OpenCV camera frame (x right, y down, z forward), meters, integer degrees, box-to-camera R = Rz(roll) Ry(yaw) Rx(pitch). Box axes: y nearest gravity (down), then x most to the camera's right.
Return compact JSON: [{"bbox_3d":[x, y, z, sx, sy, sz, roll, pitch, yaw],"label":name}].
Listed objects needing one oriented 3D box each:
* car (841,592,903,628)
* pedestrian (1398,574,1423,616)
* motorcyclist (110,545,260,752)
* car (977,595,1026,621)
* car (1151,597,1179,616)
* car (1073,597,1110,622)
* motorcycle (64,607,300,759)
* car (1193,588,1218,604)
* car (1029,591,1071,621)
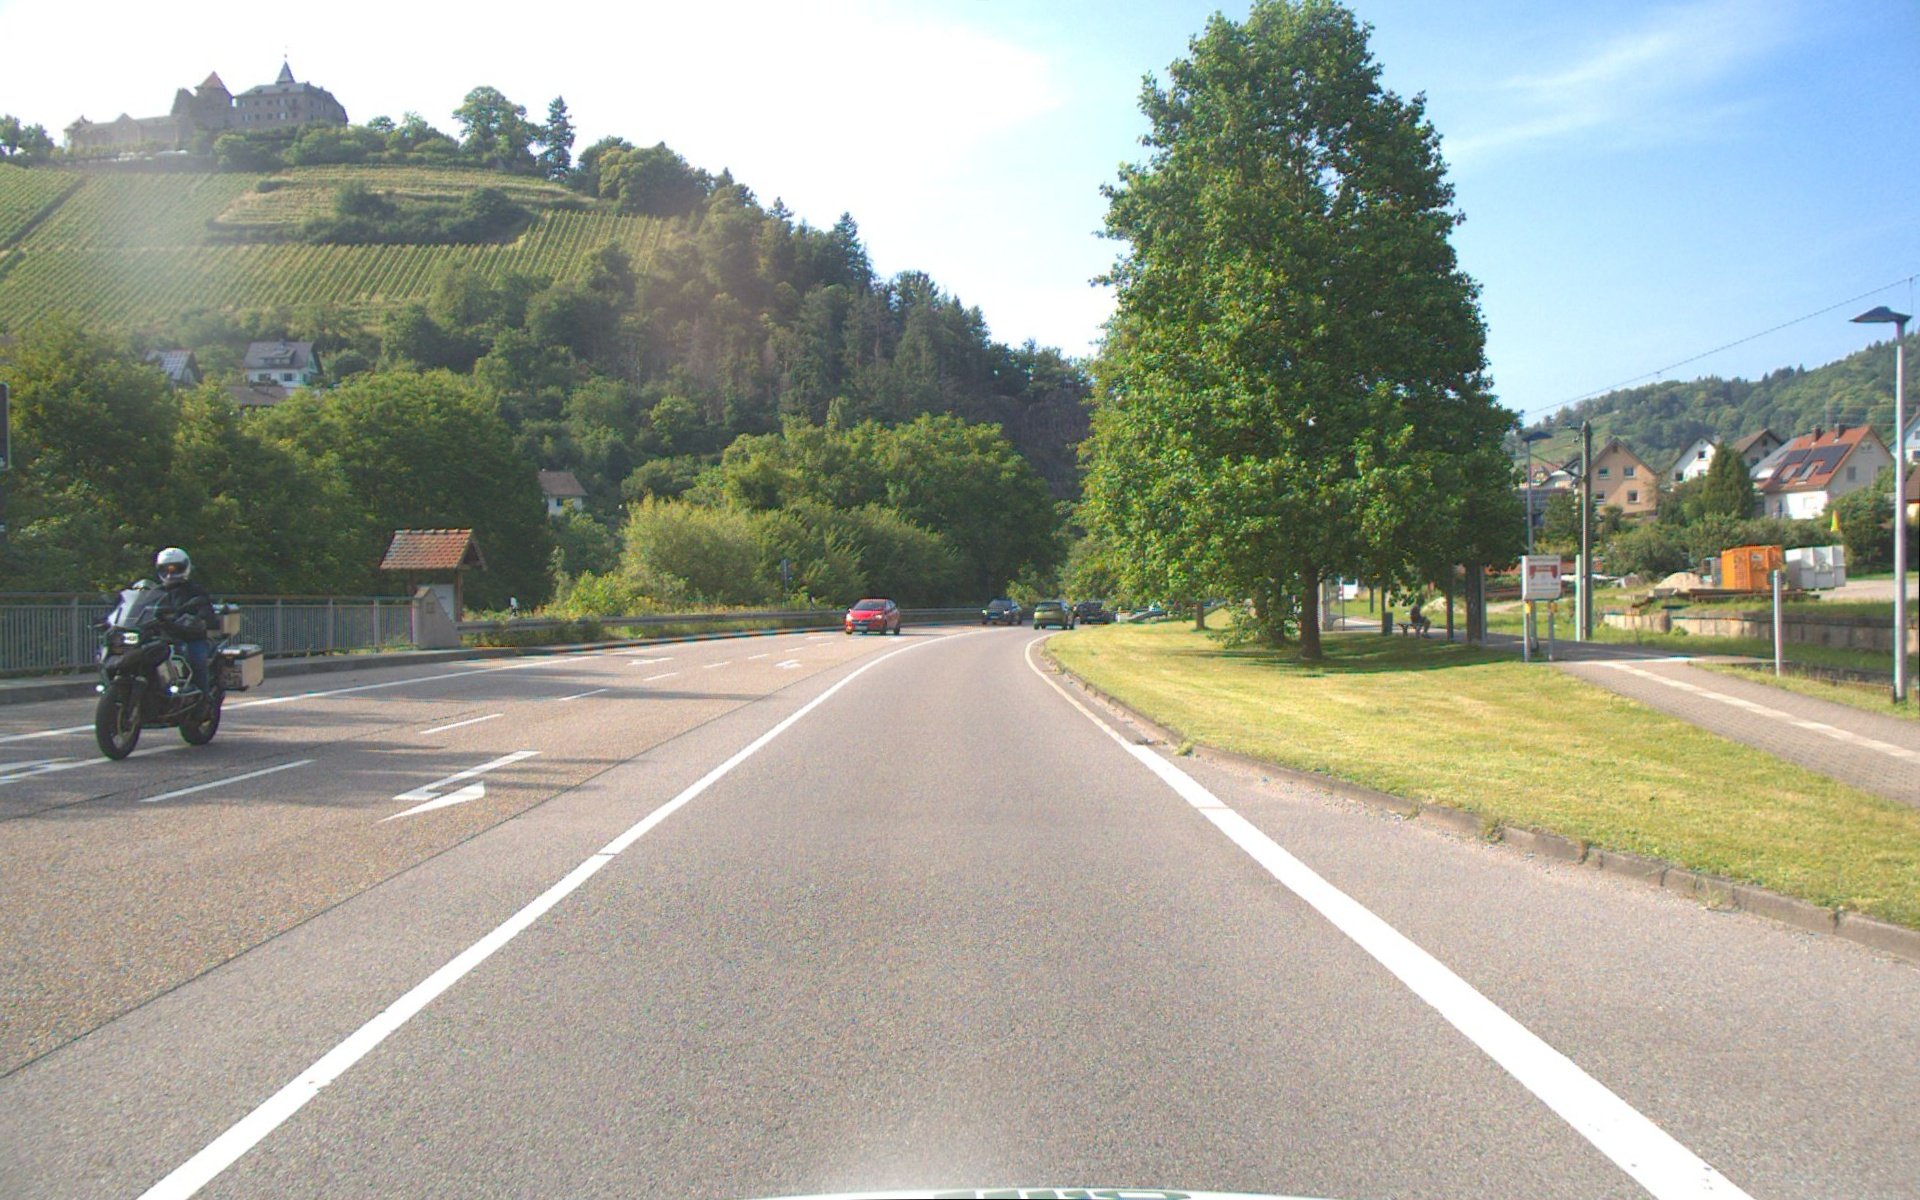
[{"bbox_3d":[-3.681,0.406,69.836,1.639,1.485,4.205,0,0,11],"label":"car"},{"bbox_3d":[13.195,-0.150,48.414,0.622,1.181,0.727,-2,0,12],"label":"pedestrian"},{"bbox_3d":[-7.068,0.422,15.145,0.827,1.815,1.171,0,0,-1],"label":"motorcyclist"},{"bbox_3d":[2.481,0.451,98.305,1.812,1.495,4.545,1,0,16],"label":"car"},{"bbox_3d":[17.338,0.559,139.825,1.768,1.478,3.650,-2,0,15],"label":"car"},{"bbox_3d":[8.307,0.574,104.182,1.801,1.485,3.716,-2,0,12],"label":"car"},{"bbox_3d":[-7.051,0.704,15.184,0.952,1.242,2.572,0,0,-1],"label":"motorcycle"},{"bbox_3d":[24.204,-0.394,163.180,1.770,1.433,3.775,-2,0,18],"label":"car"},{"bbox_3d":[4.670,0.293,85.586,1.691,1.482,3.413,-2,0,10],"label":"car"}]
